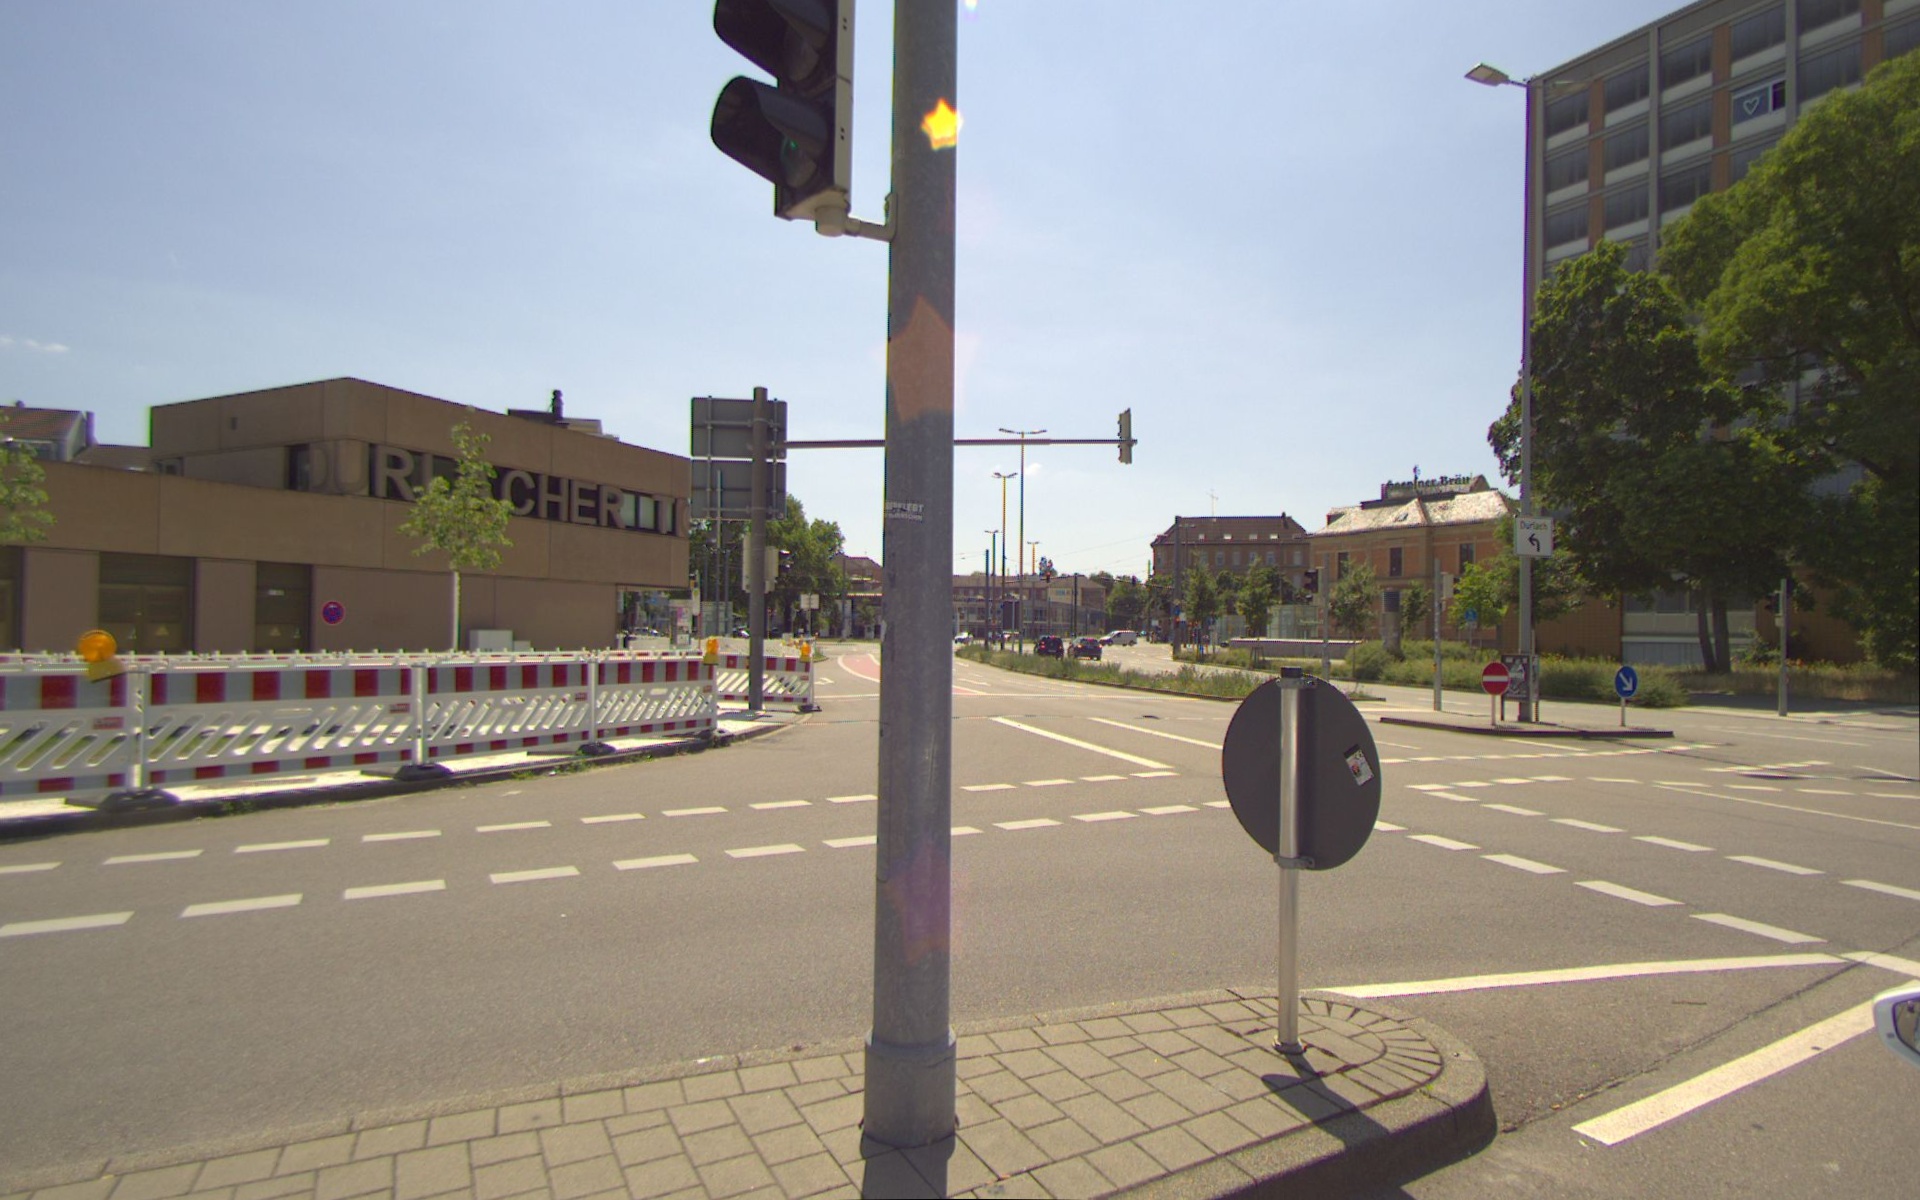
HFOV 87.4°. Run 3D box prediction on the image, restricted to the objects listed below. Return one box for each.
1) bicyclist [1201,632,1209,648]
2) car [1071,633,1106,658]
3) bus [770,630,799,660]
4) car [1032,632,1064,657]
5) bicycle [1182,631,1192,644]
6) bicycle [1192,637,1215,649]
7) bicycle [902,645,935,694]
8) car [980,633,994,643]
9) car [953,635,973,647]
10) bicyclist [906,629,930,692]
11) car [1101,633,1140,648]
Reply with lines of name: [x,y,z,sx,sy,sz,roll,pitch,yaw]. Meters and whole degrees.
bicyclist: [31.255,5.101,128.324,0.751,1.964,0.660,2,1,-2]
car: [8.728,3.085,68.484,1.688,1.577,4.587,1,-2,-1]
bus: [-9.039,2.284,52.026,1.225,1.266,5.812,2,0,-7]
car: [5.449,2.749,62.725,1.594,1.482,4.000,1,-2,-1]
bicycle: [33.548,5.537,148.343,0.602,1.812,3.181,2,0,0]
bicycle: [31.119,5.460,128.328,2.780,1.483,0.633,2,1,-3]
bicycle: [-1.087,1.762,25.793,0.515,1.196,1.894,1,-2,-12]
car: [3.963,5.574,147.342,1.407,1.303,3.263,2,0,12]
car: [0.414,5.415,132.929,1.592,1.408,4.126,0,-2,16]
bicyclist: [-1.081,1.554,25.813,0.522,1.600,0.497,1,-2,-12]
car: [19.267,4.906,120.783,4.256,1.649,1.806,2,0,-21]
